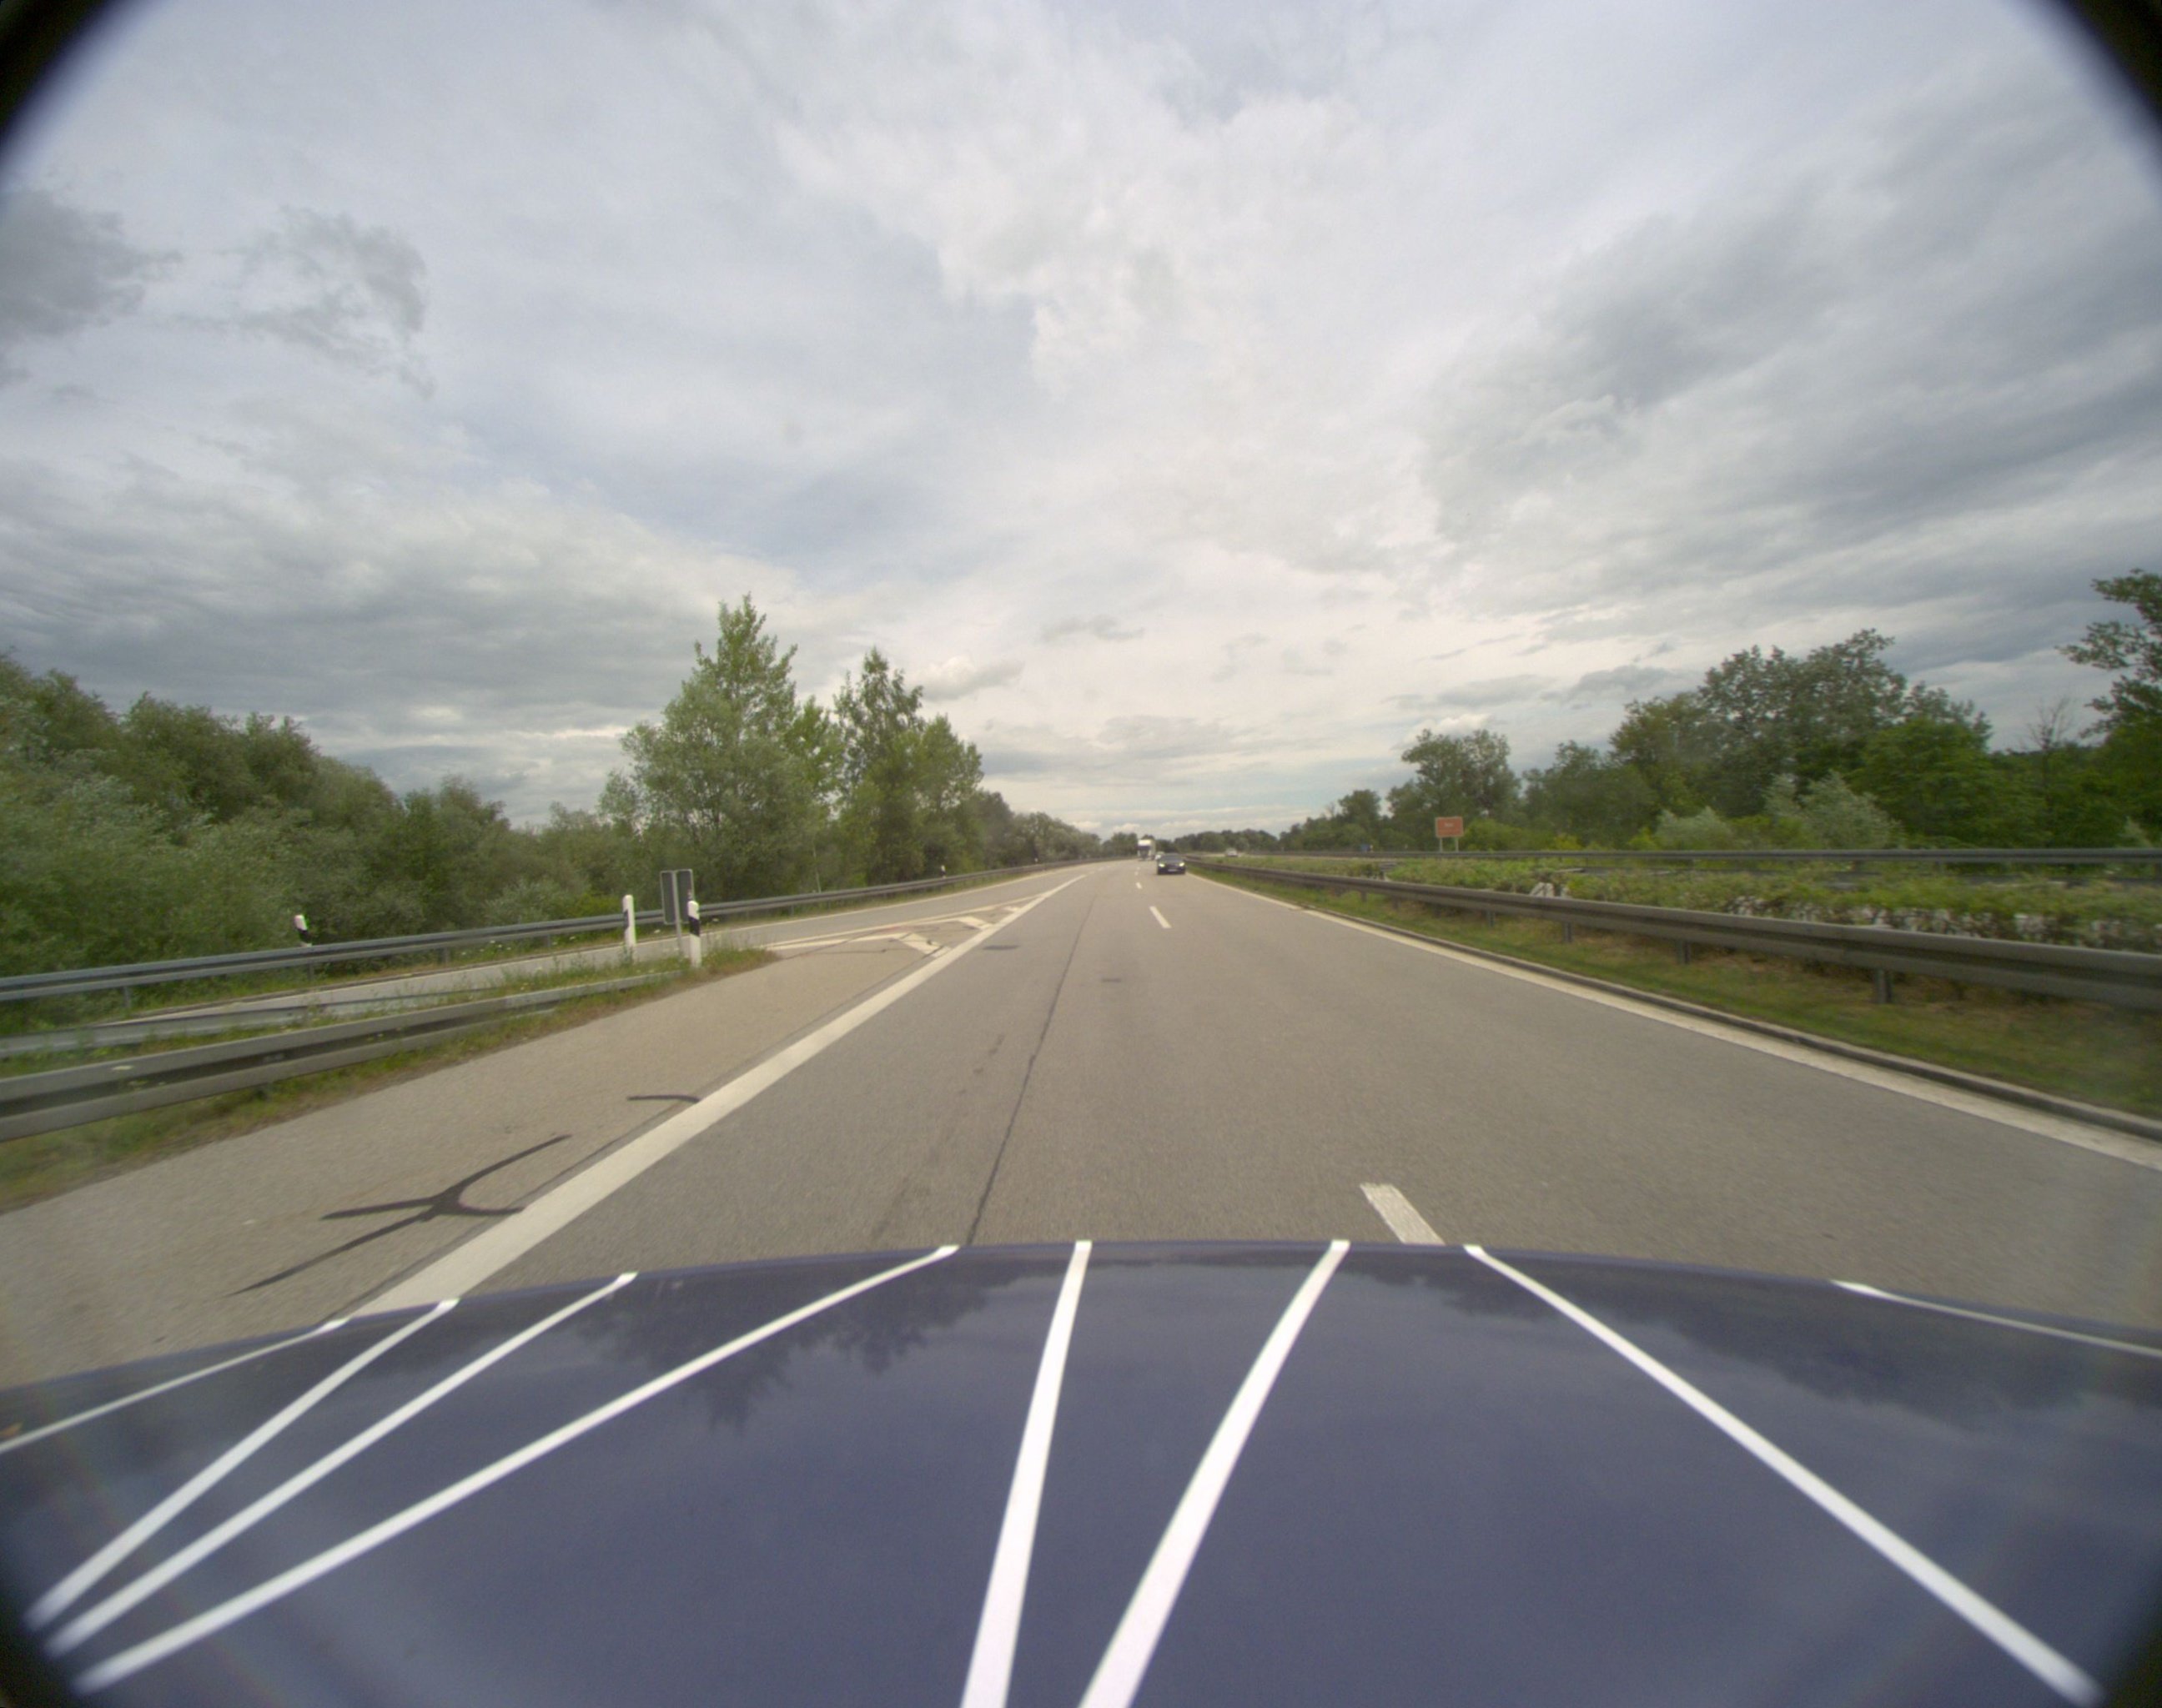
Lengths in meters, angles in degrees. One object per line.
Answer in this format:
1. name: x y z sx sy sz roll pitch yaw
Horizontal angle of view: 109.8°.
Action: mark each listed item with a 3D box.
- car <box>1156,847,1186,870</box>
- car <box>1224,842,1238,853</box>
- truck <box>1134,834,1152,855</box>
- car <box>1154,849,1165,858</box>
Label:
1. car: 6.196 0.347 52.751 1.774 1.474 4.699 -1 -1 3
2. car: 23.420 -1.019 118.649 1.646 1.705 4.983 -3 0 7
3. truck: 12.142 -1.806 148.099 3.068 3.869 6.004 -2 0 7
4. car: 13.998 -0.104 135.918 1.774 1.474 4.659 -1 -1 8
